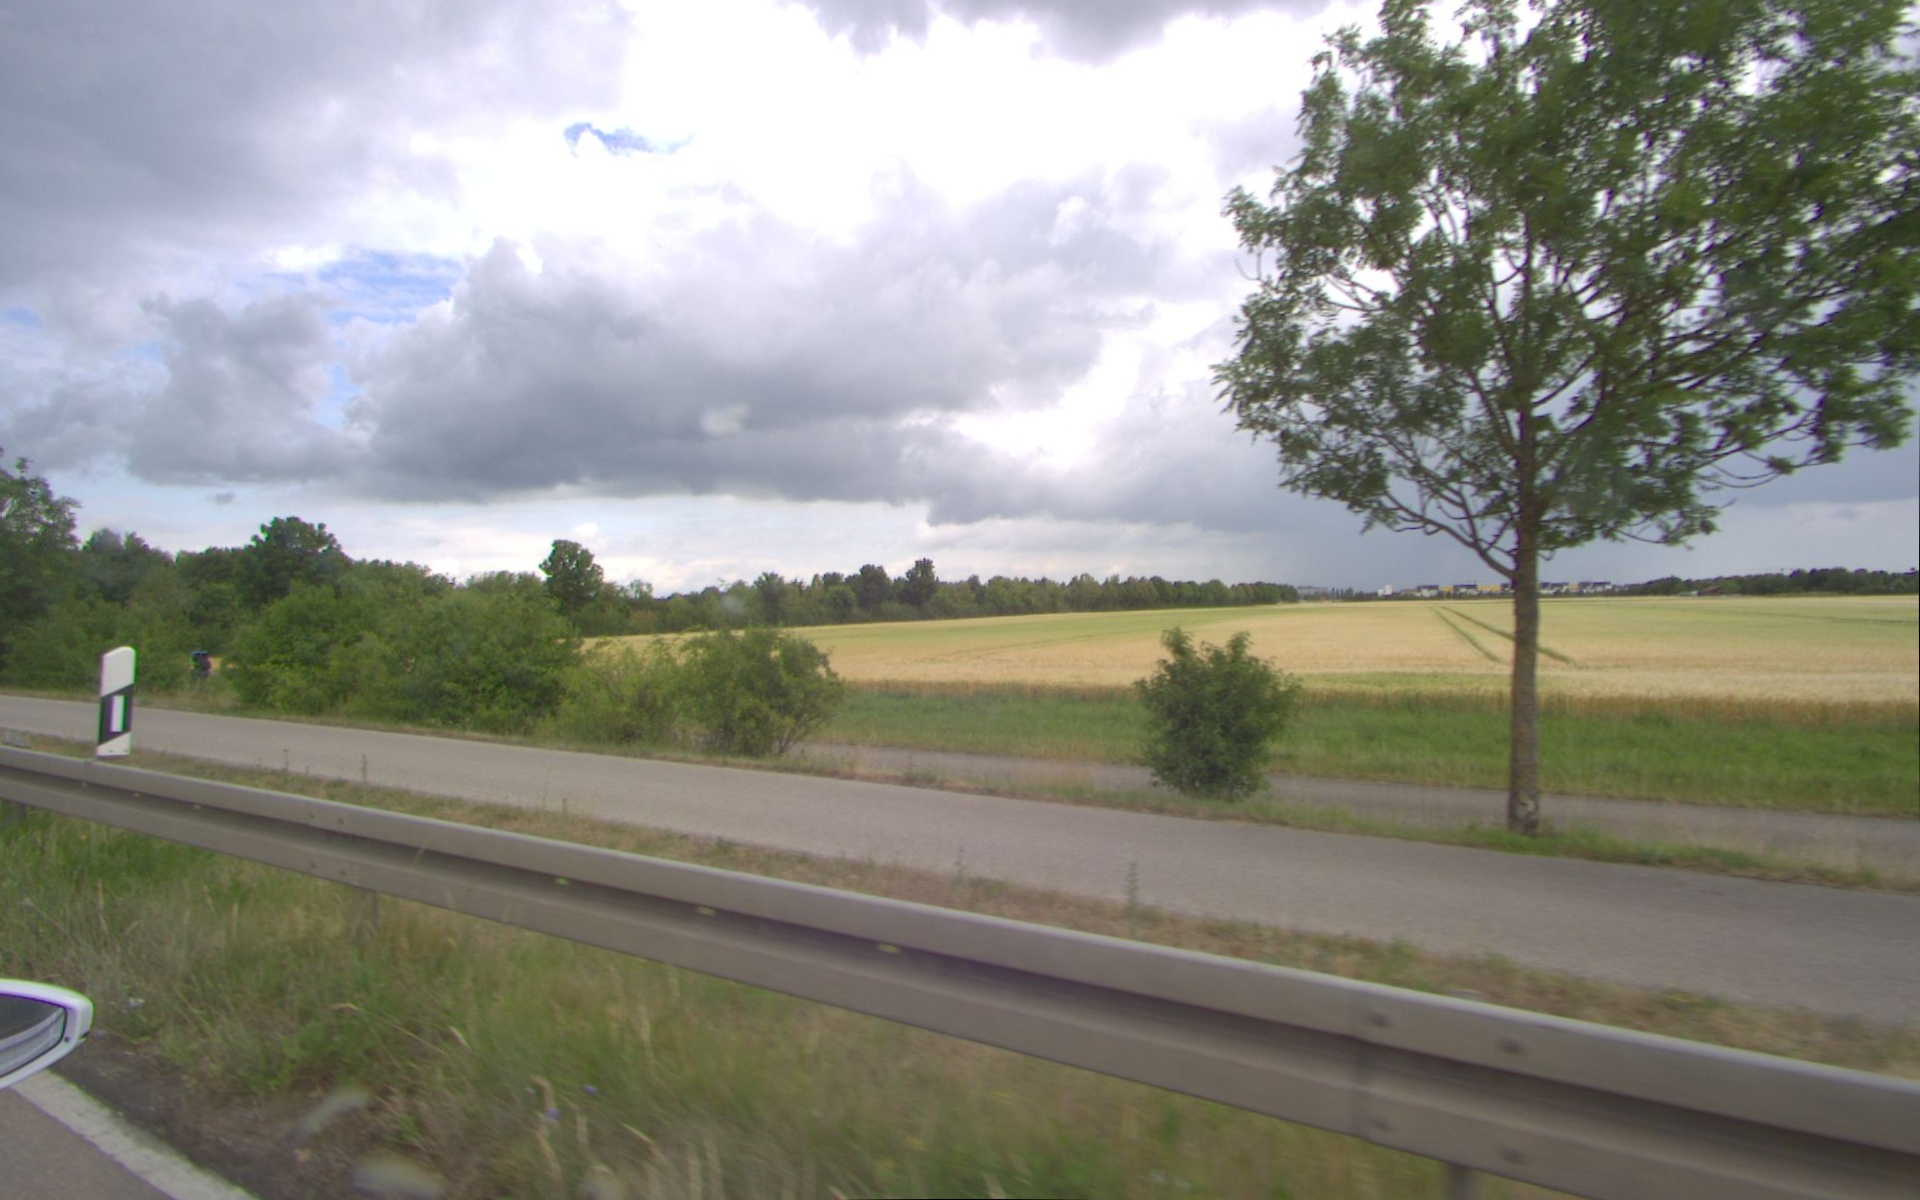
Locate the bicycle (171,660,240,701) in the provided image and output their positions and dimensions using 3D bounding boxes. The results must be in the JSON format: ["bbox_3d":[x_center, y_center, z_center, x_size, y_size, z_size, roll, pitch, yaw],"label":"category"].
[{"bbox_3d":[-22.534,2.385,29.873,2.789,1.152,0.655,-2,-2,31],"label":"bicycle"}]

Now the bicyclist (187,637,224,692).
[{"bbox_3d":[-22.498,1.920,29.860,0.733,1.601,0.655,-1,-2,31],"label":"bicyclist"}]
